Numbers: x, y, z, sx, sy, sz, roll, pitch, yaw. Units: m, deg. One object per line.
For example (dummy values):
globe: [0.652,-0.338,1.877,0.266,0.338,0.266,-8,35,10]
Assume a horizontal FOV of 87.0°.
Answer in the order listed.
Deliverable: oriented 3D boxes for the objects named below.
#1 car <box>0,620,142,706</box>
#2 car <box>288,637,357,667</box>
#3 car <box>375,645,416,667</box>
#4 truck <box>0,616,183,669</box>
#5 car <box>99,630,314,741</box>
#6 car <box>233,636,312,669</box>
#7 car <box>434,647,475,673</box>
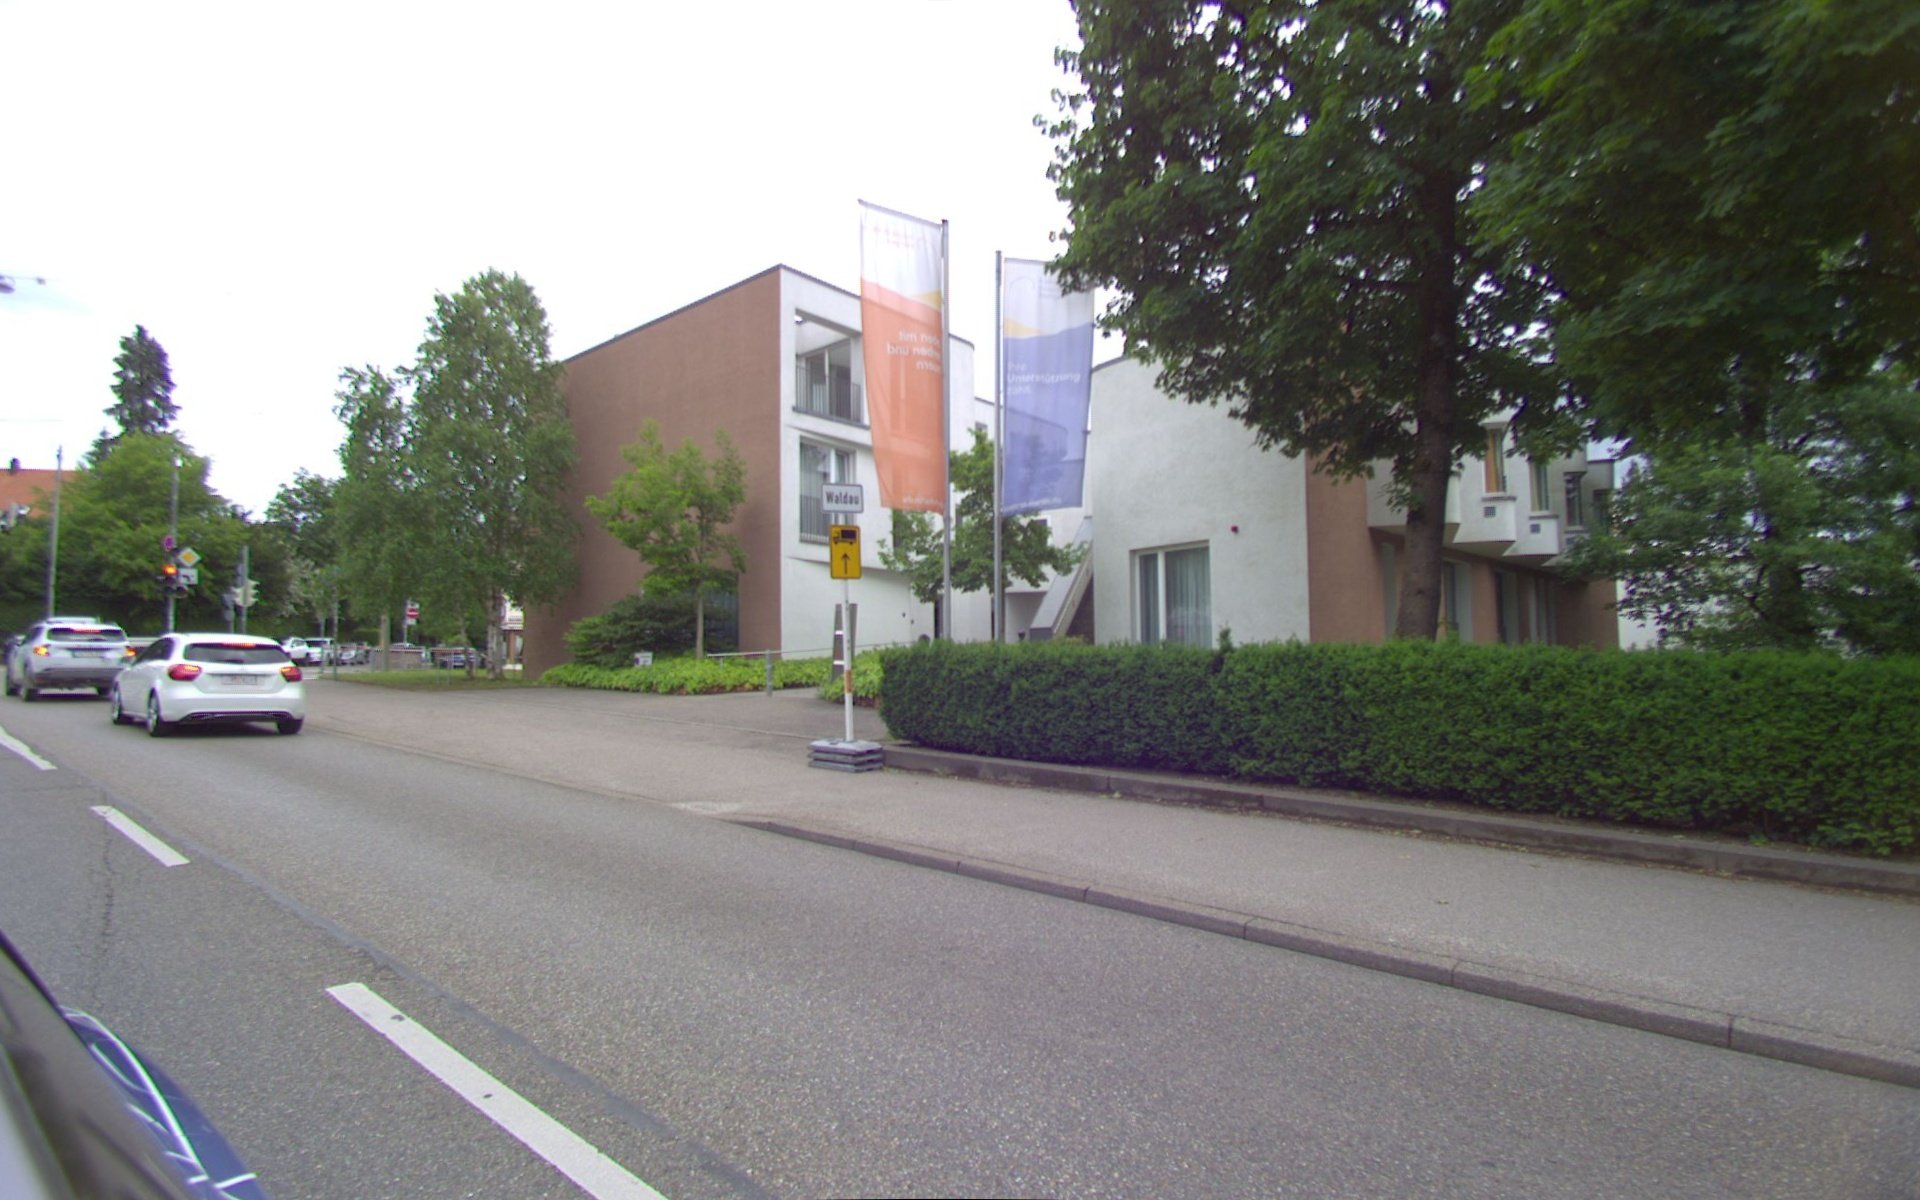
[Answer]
car: [-18.997,1.319,21.498,4.300,1.650,1.750,-1,-6,42]
car: [-37.136,3.058,59.092,1.968,1.625,4.008,2,-3,-10]
car: [-43.975,4.358,78.876,1.841,1.599,3.740,1,-3,-14]
truck: [-39.592,1.954,46.065,6.609,2.205,2.535,4,-4,-38]
car: [-11.376,1.208,15.189,4.064,1.432,1.747,-1,-4,42]
car: [-36.285,2.772,53.539,1.968,1.625,4.008,2,-3,-10]
car: [-29.144,3.448,58.416,1.848,1.460,4.013,3,-4,-23]
